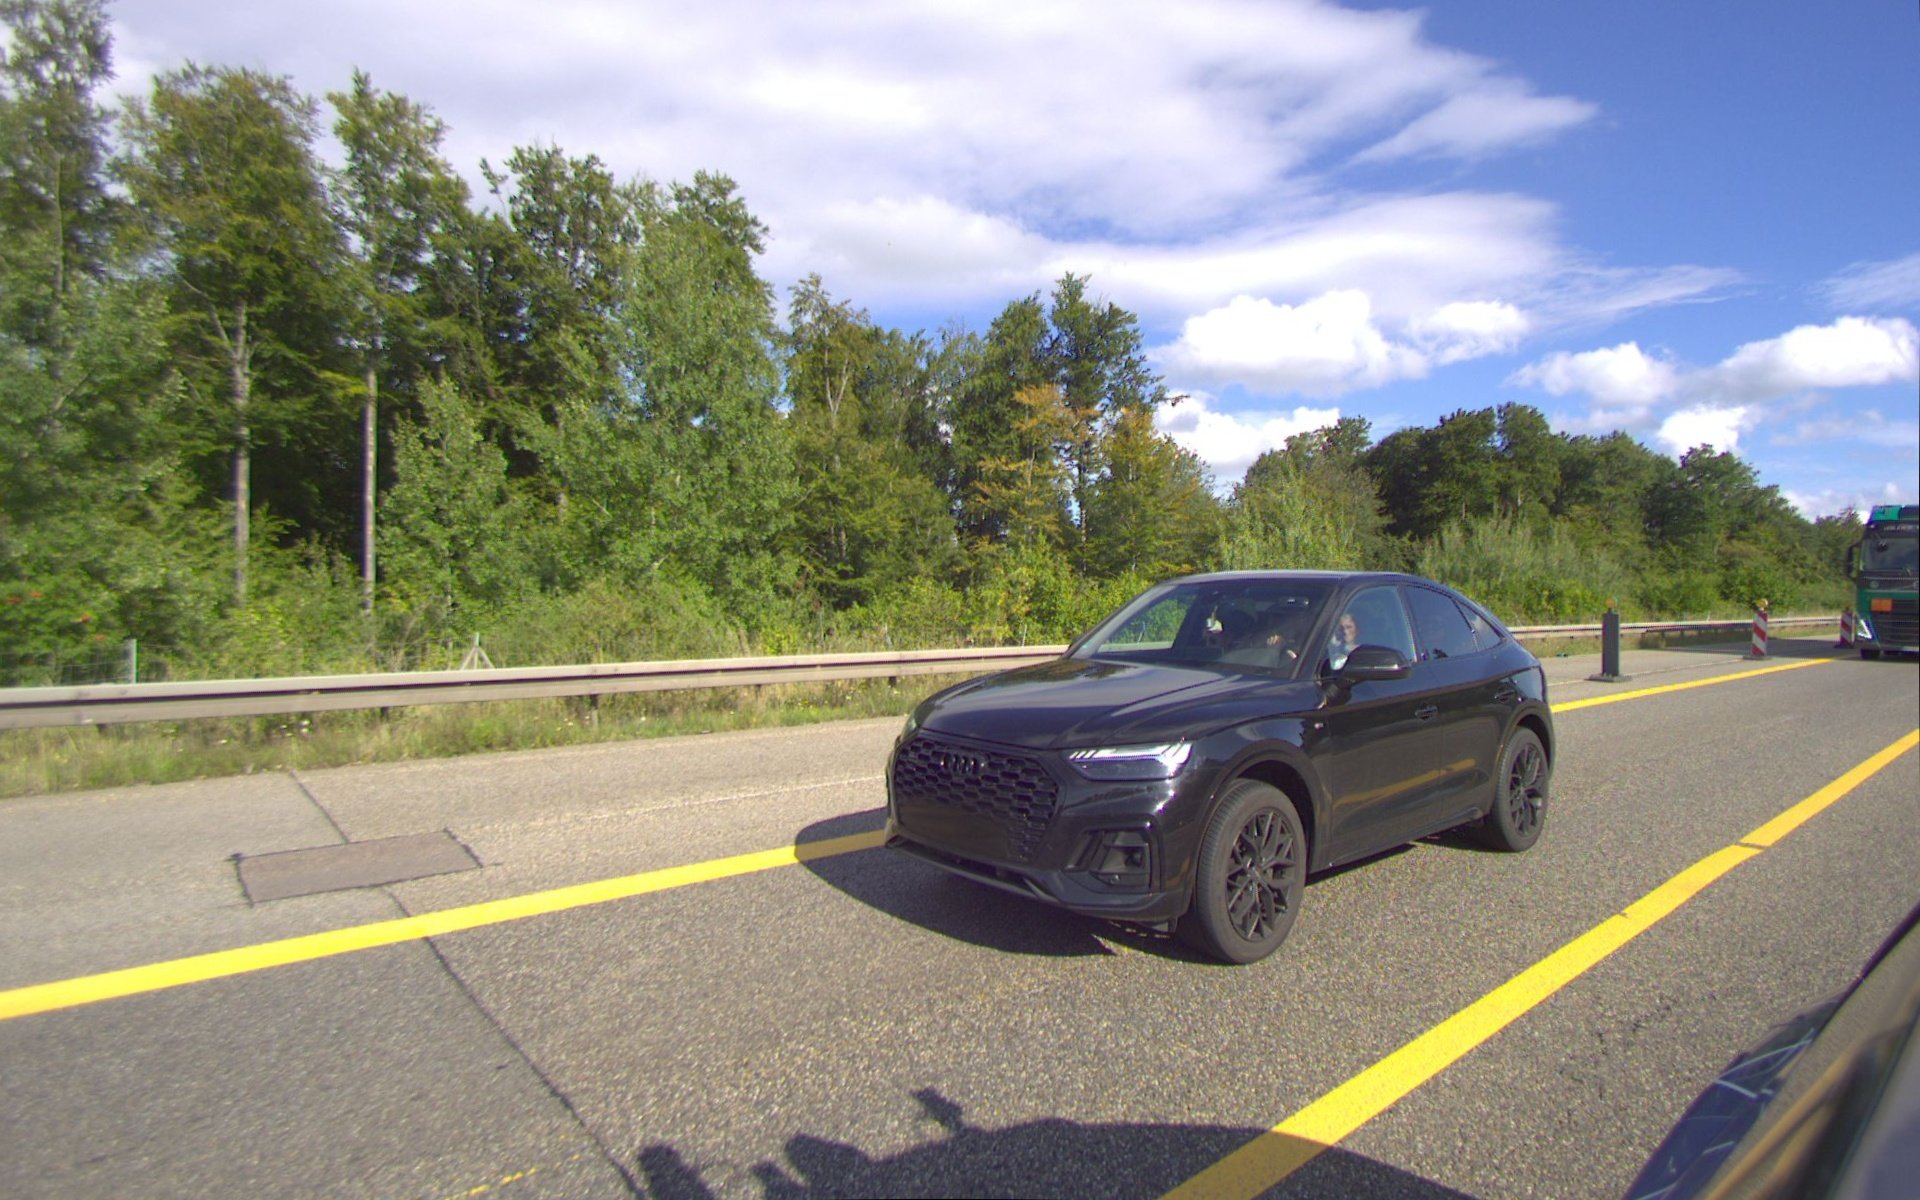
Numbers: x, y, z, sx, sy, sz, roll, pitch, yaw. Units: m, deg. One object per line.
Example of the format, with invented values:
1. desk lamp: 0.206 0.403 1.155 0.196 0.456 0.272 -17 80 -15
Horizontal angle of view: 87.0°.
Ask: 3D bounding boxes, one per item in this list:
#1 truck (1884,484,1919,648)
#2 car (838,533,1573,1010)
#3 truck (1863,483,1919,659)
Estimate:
1. truck: 30.223 -0.826 29.797 13.954 4.196 2.469 0 -1 -39
2. car: 1.587 0.563 5.514 4.219 1.623 1.781 -1 0 -41
3. truck: 25.434 -0.713 25.838 6.733 4.151 2.527 0 0 -39
